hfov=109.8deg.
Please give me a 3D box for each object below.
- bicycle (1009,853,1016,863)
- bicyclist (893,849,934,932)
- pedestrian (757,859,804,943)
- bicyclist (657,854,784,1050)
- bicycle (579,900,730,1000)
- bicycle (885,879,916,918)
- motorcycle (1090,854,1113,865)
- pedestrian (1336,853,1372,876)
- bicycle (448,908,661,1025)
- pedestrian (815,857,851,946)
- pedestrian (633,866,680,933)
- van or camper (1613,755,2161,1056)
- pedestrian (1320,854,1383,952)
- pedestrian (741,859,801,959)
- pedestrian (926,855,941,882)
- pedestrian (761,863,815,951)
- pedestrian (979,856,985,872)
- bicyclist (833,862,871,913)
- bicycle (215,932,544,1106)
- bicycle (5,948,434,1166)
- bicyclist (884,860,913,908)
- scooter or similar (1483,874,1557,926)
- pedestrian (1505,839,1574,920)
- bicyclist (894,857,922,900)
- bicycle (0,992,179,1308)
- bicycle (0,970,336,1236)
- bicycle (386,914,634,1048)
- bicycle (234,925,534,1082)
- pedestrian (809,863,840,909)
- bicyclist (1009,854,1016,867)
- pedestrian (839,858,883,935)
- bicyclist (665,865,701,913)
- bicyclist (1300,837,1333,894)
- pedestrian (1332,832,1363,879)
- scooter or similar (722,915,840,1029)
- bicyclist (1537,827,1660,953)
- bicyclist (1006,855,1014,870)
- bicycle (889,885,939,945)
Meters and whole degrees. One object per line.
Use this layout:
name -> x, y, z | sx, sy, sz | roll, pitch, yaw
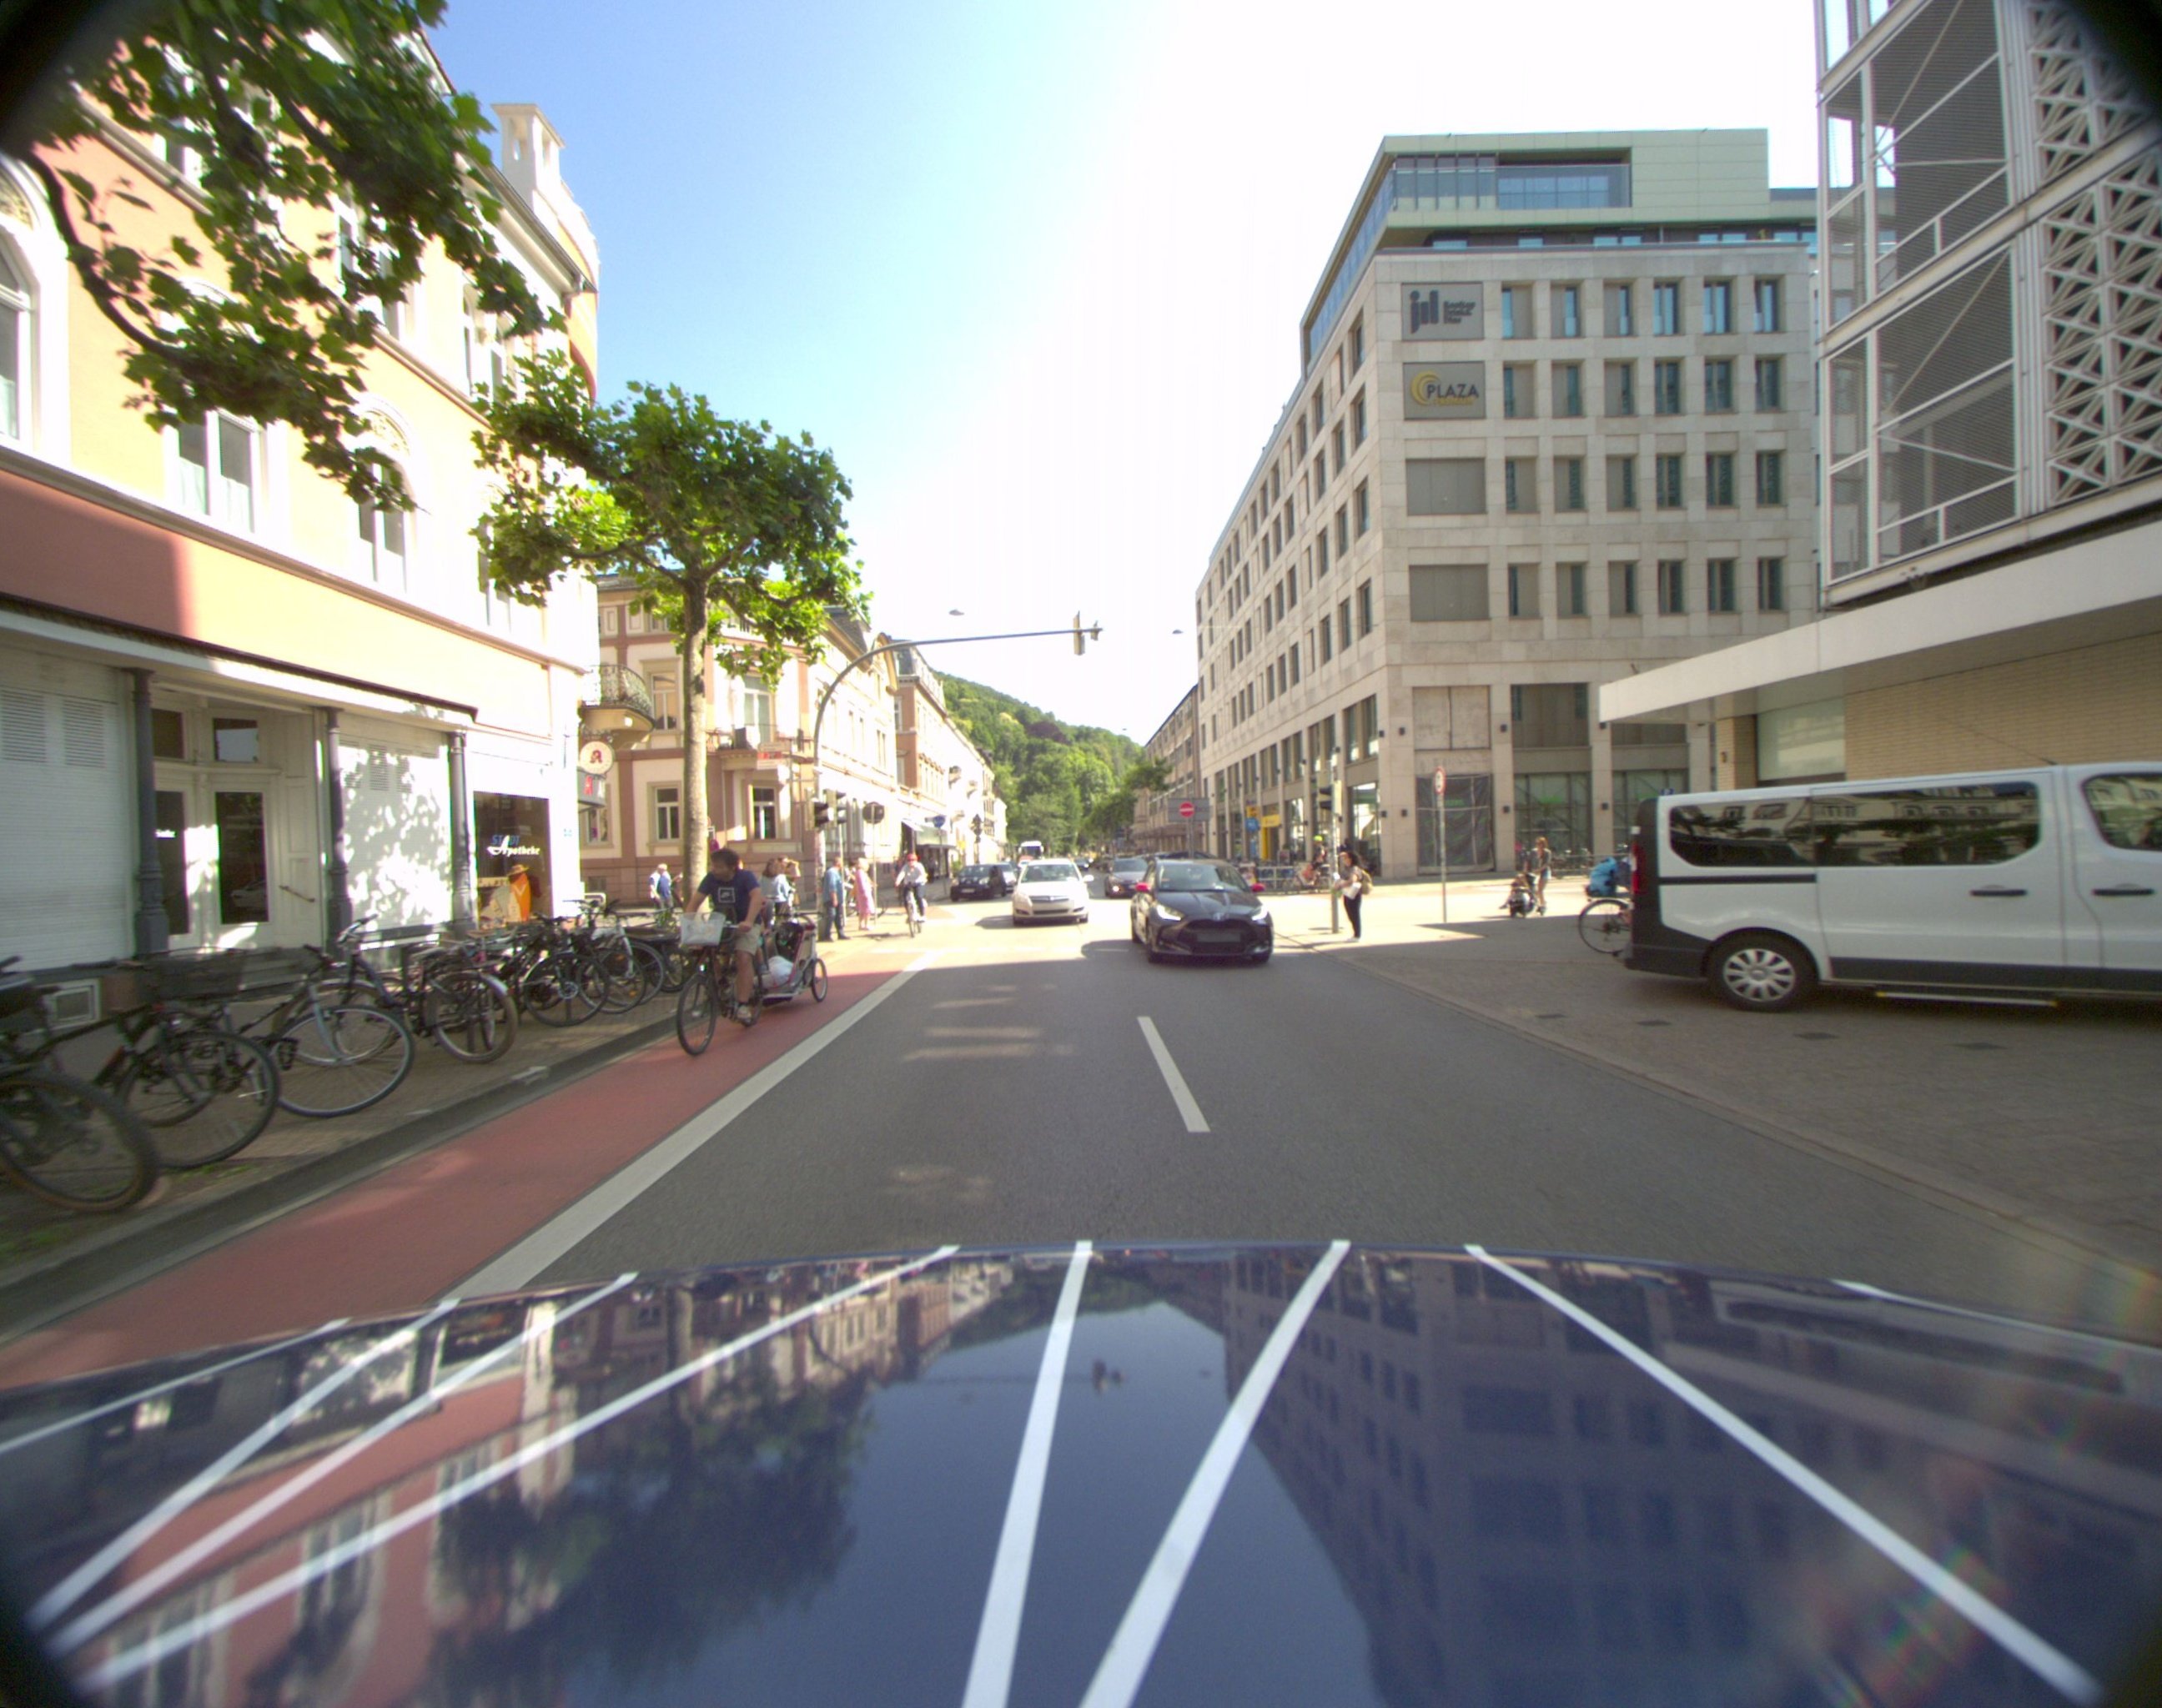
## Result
bicycle -> -8.342, 0.494, 92.933 | 0.596, 1.121, 2.093 | 0, 3, 0
bicyclist -> -3.582, 0.774, 16.345 | 0.685, 1.707, 0.844 | -3, 0, -5
pedestrian -> -6.874, 1.067, 17.391 | 0.640, 1.832, 0.615 | -4, 1, 11
bicyclist -> -3.252, 0.847, 6.928 | 0.732, 1.664, 0.774 | -1, 1, 1
bicycle -> -5.292, 1.192, 9.412 | 1.843, 1.120, 0.346 | -4, 0, 14
bicycle -> -6.114, 1.492, 25.809 | 0.607, 1.121, 1.858 | 0, 3, 0
motorcycle -> 2.681, 0.728, 98.580 | 0.980, 1.342, 3.094 | -2, 1, -45
pedestrian -> 12.060, 0.458, 33.600 | 1.253, 0.920, 0.841 | -2, 0, -3
bicycle -> -5.614, 1.194, 8.149 | 1.844, 1.120, 0.667 | -2, 2, 6
pedestrian -> -5.120, 0.967, 15.692 | 0.453, 1.784, 0.607 | -3, 0, -3
pedestrian -> -10.732, 1.144, 19.236 | 0.640, 1.648, 0.791 | -2, -1, 11
van or camper -> 7.304, 0.344, 6.209 | 4.648, 2.002, 2.004 | -4, 0, 38
pedestrian -> 4.504, 0.797, 12.670 | 0.641, 1.550, 0.680 | -4, 0, -13
pedestrian -> -5.841, 1.018, 14.336 | 0.789, 1.784, 0.641 | -3, 0, -4
pedestrian -> -10.010, 0.974, 51.733 | 0.840, 1.781, 0.767 | -1, 1, -1
pedestrian -> -5.816, 1.040, 15.108 | 0.789, 1.680, 0.641 | -2, 0, -4
pedestrian -> -10.495, 1.041, 80.809 | 0.482, 1.659, 0.868 | -2, 1, -2
bicyclist -> -6.458, 0.945, 21.449 | 0.861, 1.403, 0.501 | -2, 1, 0
bicycle -> -5.244, 1.215, 5.756 | 1.844, 1.120, 0.643 | -2, 2, 1
bicycle -> -5.244, 1.215, 4.709 | 1.844, 1.120, 0.666 | -2, 2, 1
bicyclist -> -6.729, 1.082, 28.002 | 0.840, 1.707, 0.844 | -1, 1, -1
scooter or similar -> 9.192, 0.946, 15.925 | 0.974, 0.959, 0.900 | -3, 1, -22
pedestrian -> 9.909, 0.545, 16.433 | 0.845, 1.649, 0.840 | -4, 1, -20
bicyclist -> -7.141, 1.014, 31.363 | 0.910, 1.707, 0.844 | -1, 1, -1
bicycle -> -5.078, 1.229, 3.206 | 1.844, 1.120, 0.530 | -2, 2, 1
bicycle -> -5.102, 1.236, 3.900 | 1.844, 1.120, 0.666 | -2, 2, 1
bicycle -> -5.451, 1.198, 7.328 | 1.844, 1.120, 0.666 | -2, 2, 1
bicycle -> -5.759, 1.219, 6.352 | 1.844, 1.120, 0.666 | -2, 2, 1
pedestrian -> -9.489, 1.161, 28.079 | 0.904, 1.603, 0.974 | -2, 4, -30
bicyclist -> -8.313, 0.772, 92.492 | 0.747, 1.564, 0.844 | -1, 1, -1
pedestrian -> -5.203, 0.990, 18.001 | 0.641, 1.700, 0.789 | -7, 3, -4
bicyclist -> -13.334, 1.157, 25.484 | 0.747, 1.564, 0.844 | -1, 1, -1
bicyclist -> 8.247, 0.396, 26.624 | 0.843, 1.948, 1.017 | -2, 1, 5
pedestrian -> 11.326, 0.062, 32.261 | 0.840, 1.868, 0.844 | -6, 1, -1
scooter or similar -> -3.316, 1.281, 8.507 | 0.785, 1.054, 1.126 | -3, 1, 2
bicyclist -> 6.757, 0.449, 9.980 | 0.736, 1.530, 1.076 | -3, 0, -9
bicyclist -> -8.027, 0.981, 86.271 | 0.747, 1.693, 1.035 | -1, 1, -1
bicycle -> -3.563, 1.272, 16.381 | 0.737, 1.120, 2.033 | -3, 0, -5
